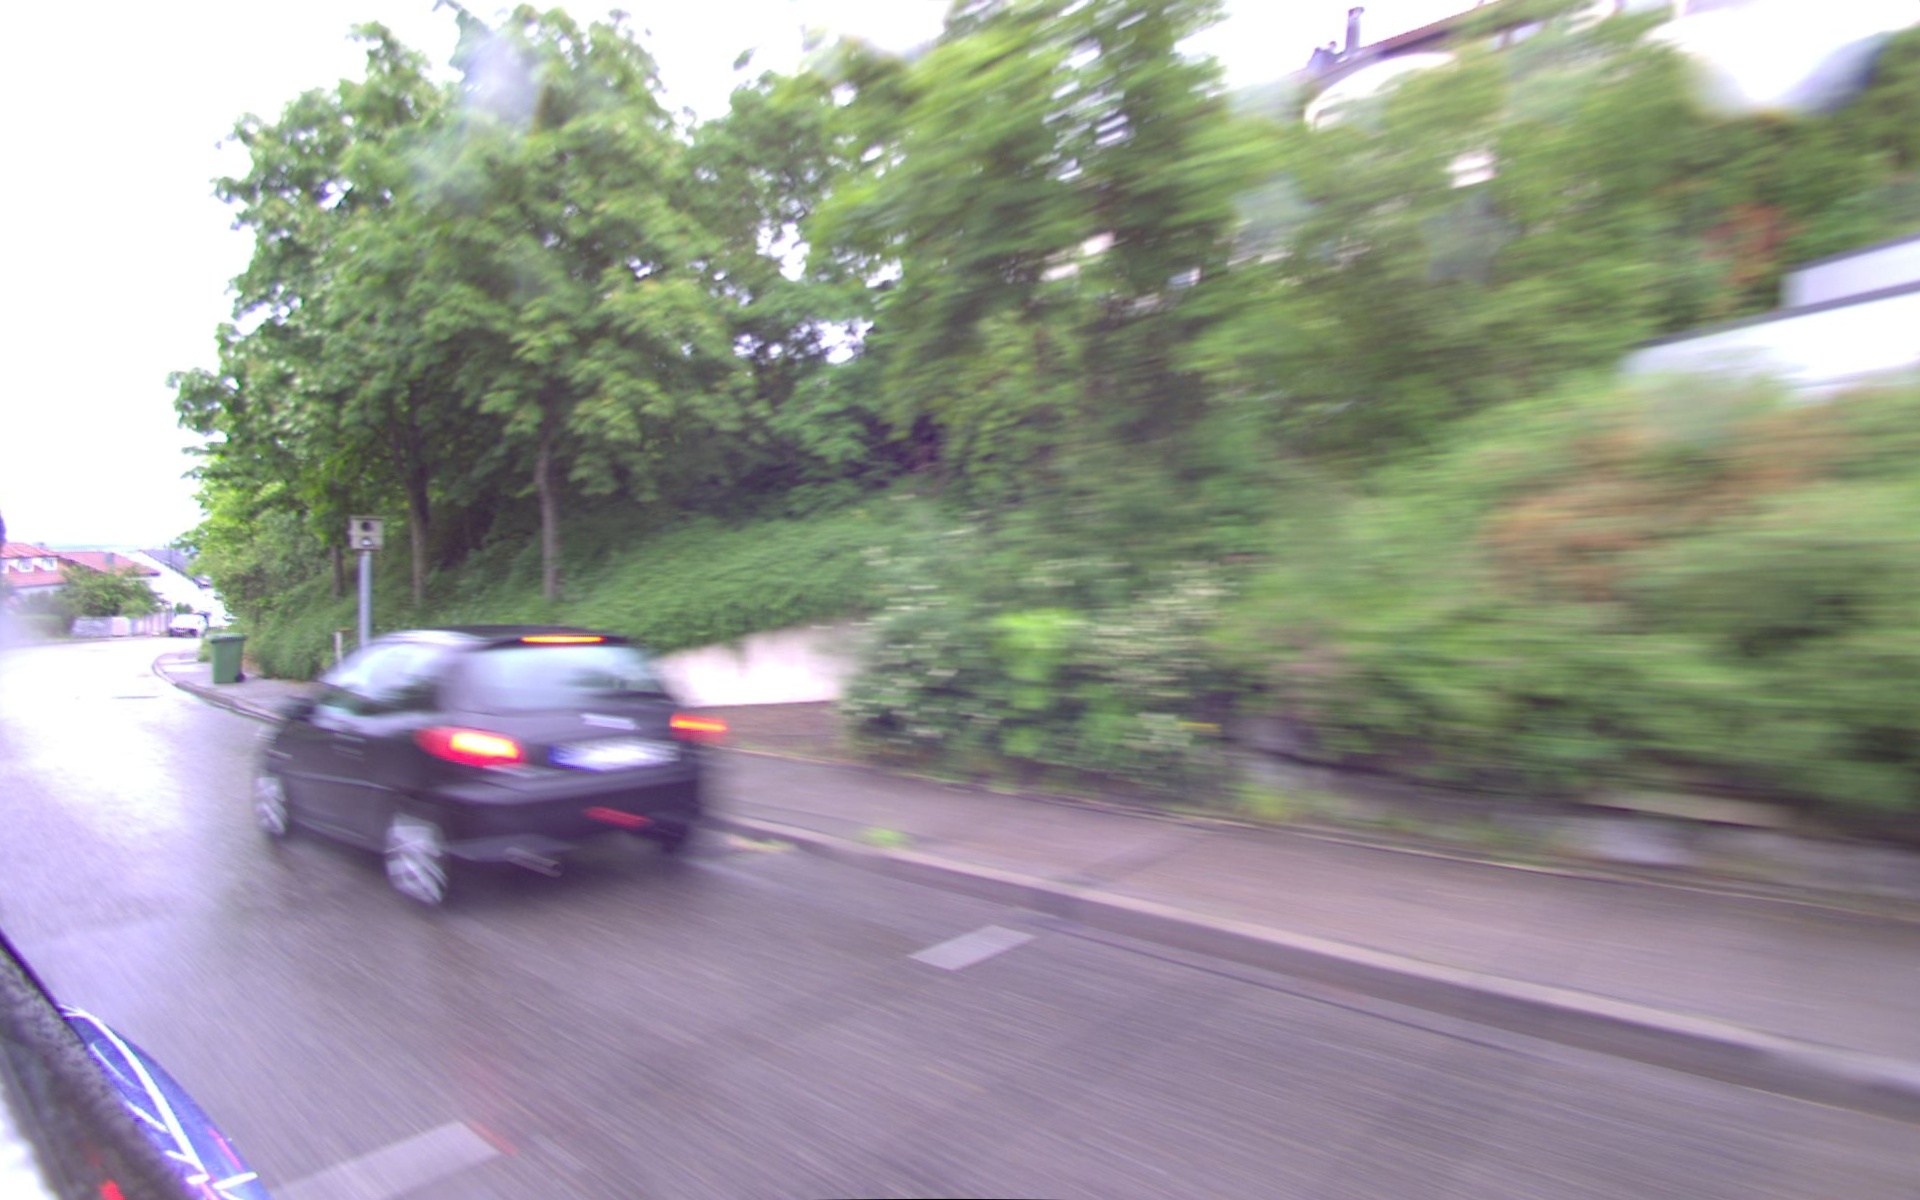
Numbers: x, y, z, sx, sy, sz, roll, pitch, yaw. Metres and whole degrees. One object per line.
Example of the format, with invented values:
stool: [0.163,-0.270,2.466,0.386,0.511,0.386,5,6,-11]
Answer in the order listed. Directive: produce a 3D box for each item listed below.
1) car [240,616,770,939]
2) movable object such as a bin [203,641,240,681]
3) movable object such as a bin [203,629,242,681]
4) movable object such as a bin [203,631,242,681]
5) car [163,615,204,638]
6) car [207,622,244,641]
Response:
car: [-2.910,0.803,6.170,3.527,1.395,1.633,-1,-1,41]
movable object such as a bin: [-17.609,1.437,24.130,0.640,0.918,0.674,2,-2,-42]
movable object such as a bin: [-16.362,1.217,22.451,0.640,1.124,0.506,2,-2,-42]
movable object such as a bin: [-16.718,1.259,22.933,0.640,1.112,0.674,2,-2,-42]
car: [-64.935,2.227,84.727,1.753,1.817,4.722,3,-2,-26]
car: [-70.368,3.008,96.995,1.779,1.639,4.301,4,-3,-22]
